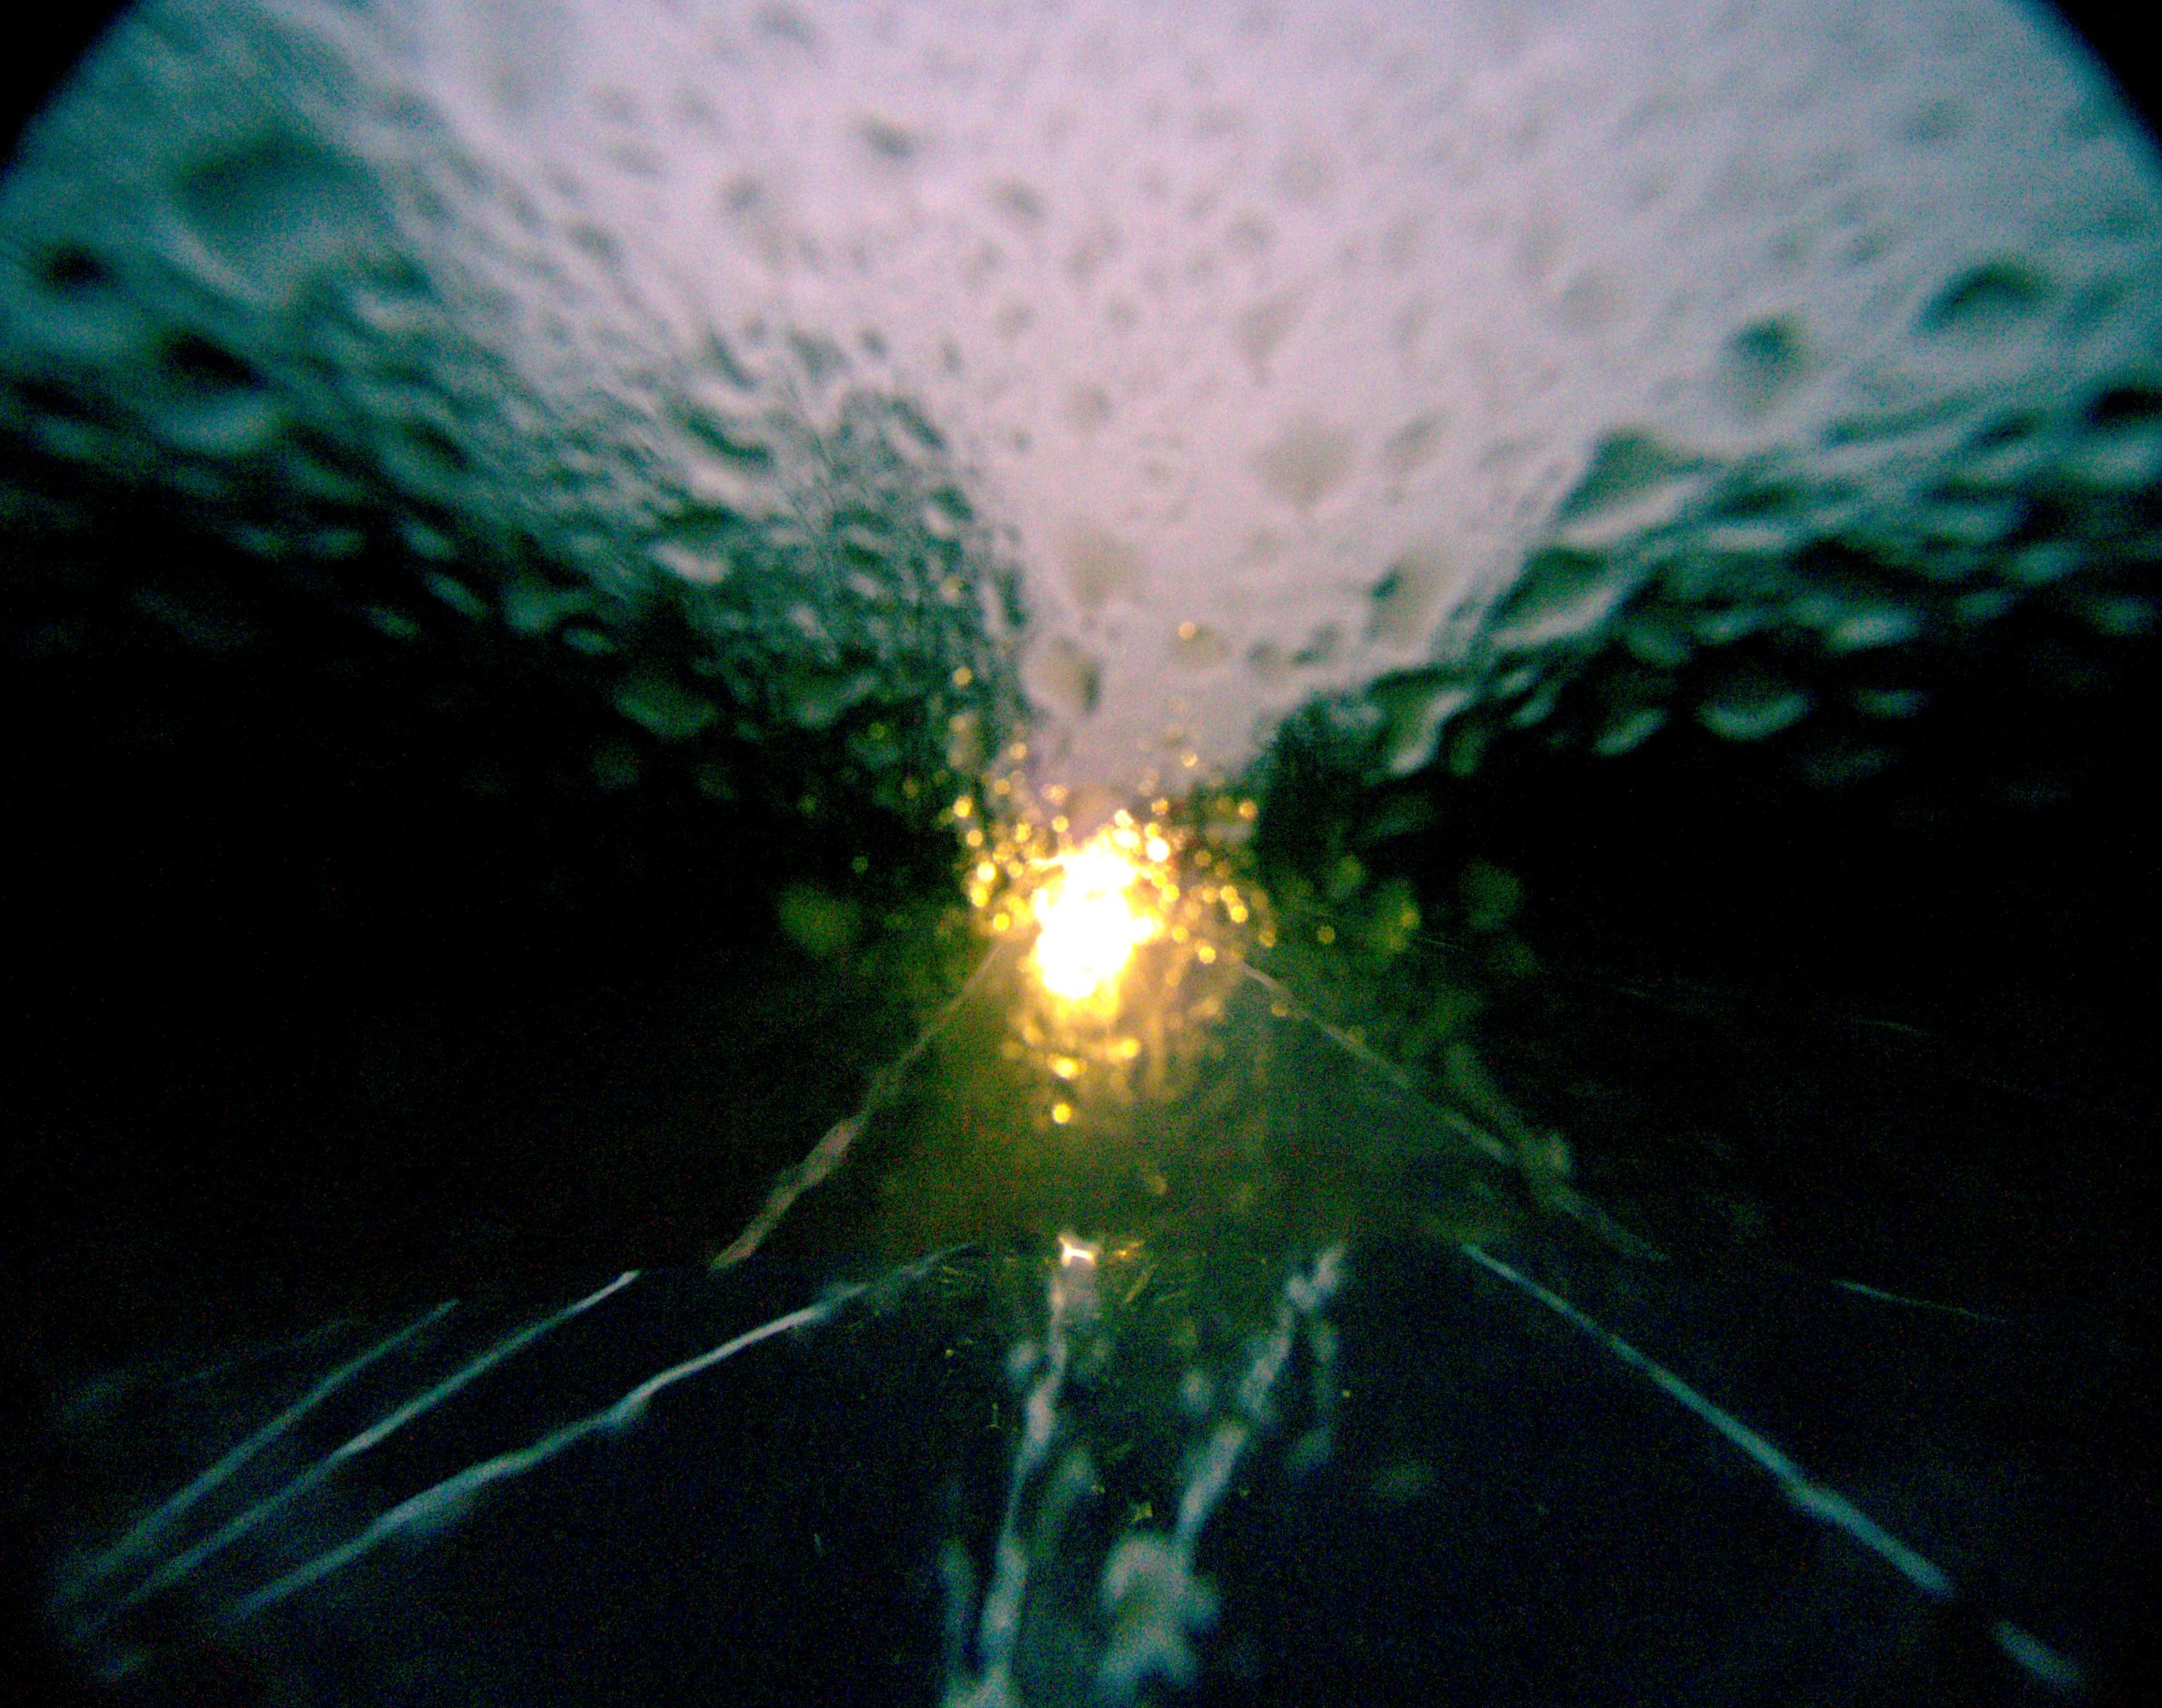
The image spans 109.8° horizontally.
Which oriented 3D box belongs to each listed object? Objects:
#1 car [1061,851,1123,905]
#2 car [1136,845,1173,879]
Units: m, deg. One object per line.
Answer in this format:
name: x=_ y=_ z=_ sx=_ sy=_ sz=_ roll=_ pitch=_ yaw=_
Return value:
car: x=0.375 y=0.800 z=27.342 sx=1.998 sy=1.672 sz=3.999 roll=-2 pitch=1 yaw=1
car: x=4.038 y=0.381 z=42.224 sx=1.678 sy=1.727 sz=3.837 roll=-2 pitch=1 yaw=1
